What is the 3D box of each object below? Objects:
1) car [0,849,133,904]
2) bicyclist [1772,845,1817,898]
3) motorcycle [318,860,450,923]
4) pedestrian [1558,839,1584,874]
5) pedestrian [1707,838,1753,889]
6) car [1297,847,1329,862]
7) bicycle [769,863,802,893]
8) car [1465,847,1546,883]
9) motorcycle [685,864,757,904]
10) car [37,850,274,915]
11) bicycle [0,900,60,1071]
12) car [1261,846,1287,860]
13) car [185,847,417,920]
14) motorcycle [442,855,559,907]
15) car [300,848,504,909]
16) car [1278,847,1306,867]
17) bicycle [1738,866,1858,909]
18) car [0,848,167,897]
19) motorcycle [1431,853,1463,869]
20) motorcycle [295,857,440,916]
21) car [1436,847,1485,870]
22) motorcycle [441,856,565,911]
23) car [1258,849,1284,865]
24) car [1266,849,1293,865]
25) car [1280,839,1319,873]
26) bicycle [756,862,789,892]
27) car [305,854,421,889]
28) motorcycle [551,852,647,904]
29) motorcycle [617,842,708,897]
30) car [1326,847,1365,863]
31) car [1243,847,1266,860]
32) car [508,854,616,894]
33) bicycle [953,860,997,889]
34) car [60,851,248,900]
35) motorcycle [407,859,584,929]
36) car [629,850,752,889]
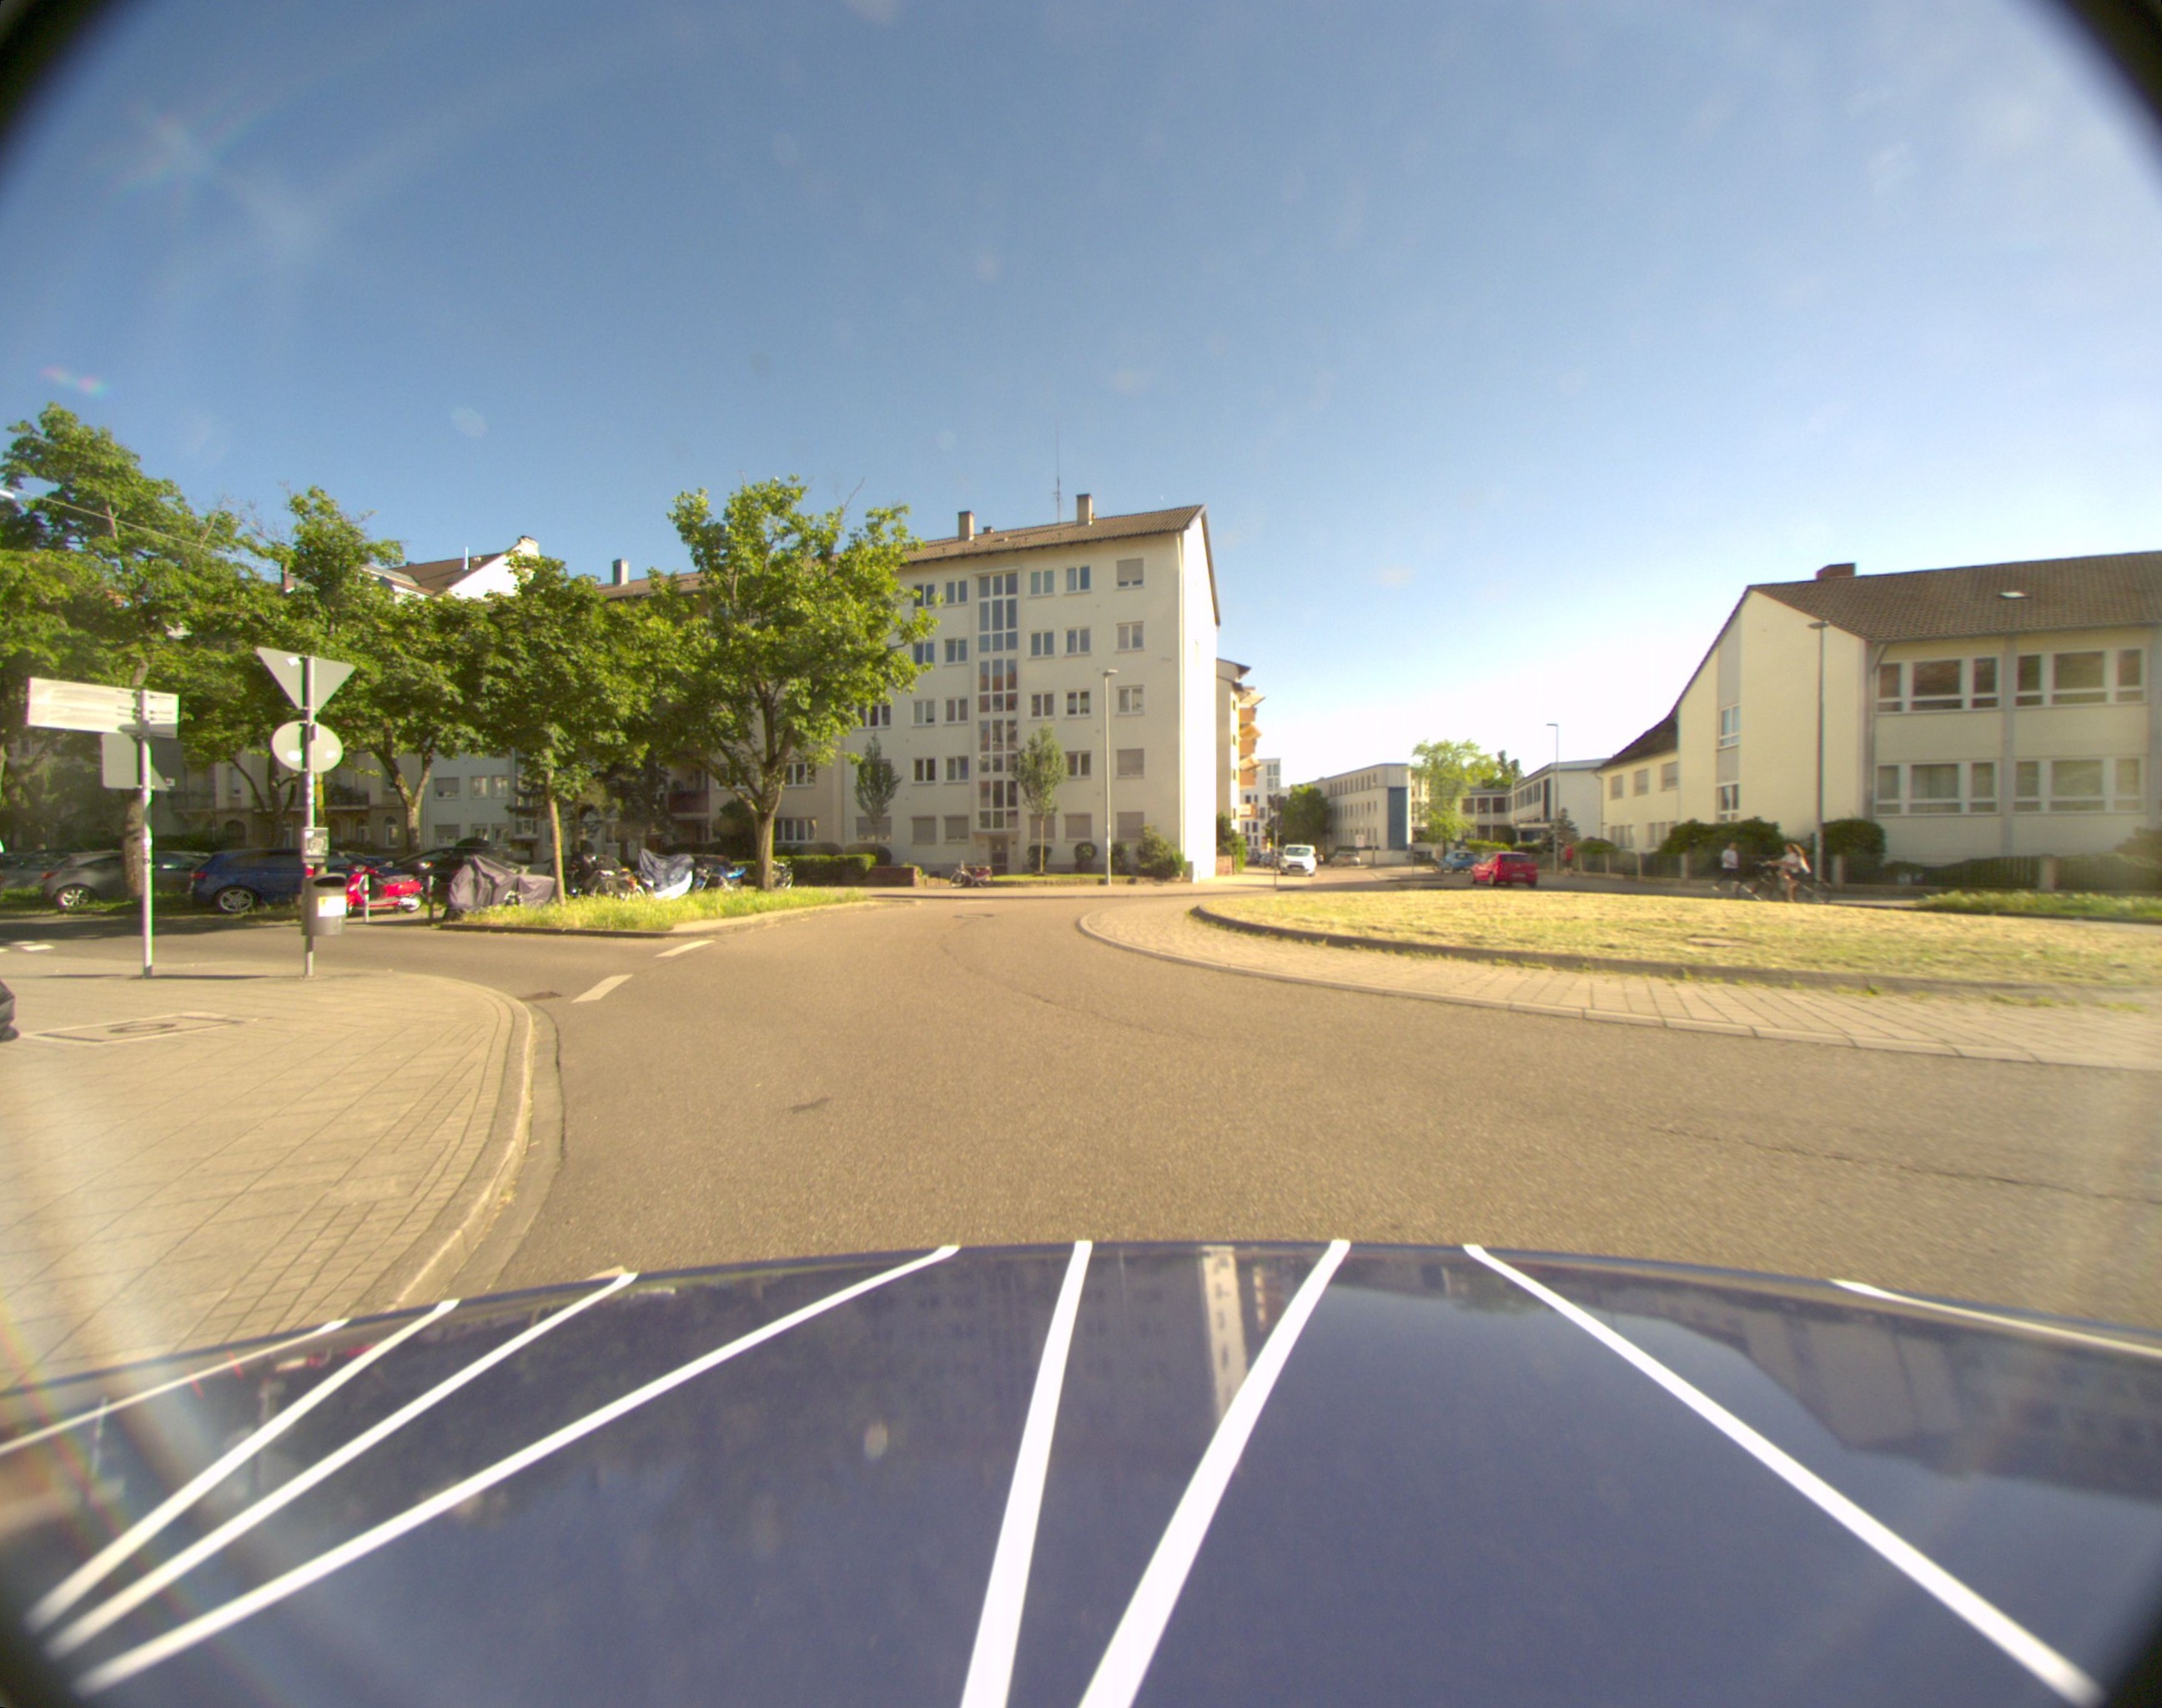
[{"bbox_3d":[-31.959,0.654,22.984,1.881,1.582,4.008,1,1,41],"label":"car"},{"bbox_3d":[18.305,0.433,19.494,0.823,1.304,0.813,-1,1,43],"label":"bicyclist"},{"bbox_3d":[-15.013,0.774,16.447,0.888,1.229,1.896,0,1,16],"label":"motorcycle"},{"bbox_3d":[24.341,0.136,37.761,0.818,1.696,0.998,-1,1,17],"label":"pedestrian"},{"bbox_3d":[22.044,0.309,25.810,0.693,1.696,0.995,-2,1,-30],"label":"pedestrian"},{"bbox_3d":[27.512,0.055,90.262,2.138,1.604,4.834,-2,0,-3],"label":"car"},{"bbox_3d":[-11.234,0.892,28.917,0.330,1.051,1.451,0,3,15],"label":"bicycle"},{"bbox_3d":[17.741,0.420,31.956,1.714,1.374,4.003,1,0,10],"label":"car"},{"bbox_3d":[-10.074,0.817,21.337,0.812,1.066,1.848,0,0,17],"label":"motorcycle"},{"bbox_3d":[-25.211,0.694,20.932,1.702,1.582,4.008,1,1,41],"label":"car"},{"bbox_3d":[-7.553,0.928,4.589,0.768,1.151,2.281,-2,1,-29],"label":"bicycle"},{"bbox_3d":[26.987,-0.116,106.308,2.138,1.800,4.834,-2,0,-3],"label":"car"},{"bbox_3d":[-19.201,0.642,18.924,1.798,1.630,3.885,1,1,45],"label":"car"},{"bbox_3d":[-15.200,0.665,19.987,1.049,1.260,2.245,0,1,16],"label":"motorcycle"},{"bbox_3d":[-19.497,0.635,21.978,1.994,1.588,4.008,0,0,34],"label":"car"},{"bbox_3d":[18.630,0.254,67.221,1.756,1.633,4.002,3,1,7],"label":"car"},{"bbox_3d":[18.326,0.830,19.497,2.204,1.008,0.813,-1,1,43],"label":"bicycle"},{"bbox_3d":[-38.016,0.648,28.723,4.007,1.714,1.881,-1,1,-34],"label":"car"},{"bbox_3d":[25.994,0.512,53.973,1.958,1.089,0.592,-2,0,40],"label":"motorcycle"},{"bbox_3d":[-16.706,0.728,17.896,1.049,1.260,2.245,0,1,16],"label":"motorcycle"},{"bbox_3d":[25.305,0.285,50.834,1.882,1.425,4.418,-1,0,12],"label":"car"},{"bbox_3d":[-14.292,0.688,18.875,1.049,1.260,2.245,0,1,16],"label":"motorcycle"},{"bbox_3d":[19.681,0.265,78.779,1.757,1.445,4.000,3,1,3],"label":"car"},{"bbox_3d":[19.400,0.294,74.278,1.757,1.445,4.001,3,1,4],"label":"car"},{"bbox_3d":[14.171,0.120,49.069,1.995,2.002,4.804,3,1,19],"label":"car"},{"bbox_3d":[-11.718,0.868,28.934,0.330,1.051,1.451,0,3,15],"label":"bicycle"},{"bbox_3d":[-31.387,0.752,33.244,3.992,1.476,1.787,0,0,14],"label":"car"},{"bbox_3d":[-13.622,0.647,21.551,1.061,1.384,2.129,0,1,15],"label":"motorcycle"},{"bbox_3d":[-10.595,0.361,19.354,0.861,1.320,2.056,0,1,13],"label":"motorcycle"},{"bbox_3d":[27.916,0.059,80.324,2.138,1.604,4.833,-2,0,-4],"label":"car"},{"bbox_3d":[26.475,-0.076,116.323,2.138,1.800,4.834,-2,0,-3],"label":"car"},{"bbox_3d":[-20.663,0.760,30.242,3.990,1.476,1.788,0,0,25],"label":"car"},{"bbox_3d":[-4.044,0.768,28.996,1.622,1.073,0.384,0,3,11],"label":"bicycle"},{"bbox_3d":[-31.870,0.663,26.276,1.776,1.540,4.008,1,1,39],"label":"car"},{"bbox_3d":[-11.853,0.746,15.571,1.125,1.260,2.786,0,1,11],"label":"motorcycle"},{"bbox_3d":[-14.855,0.579,28.944,3.991,1.403,1.835,0,0,17],"label":"car"}]
